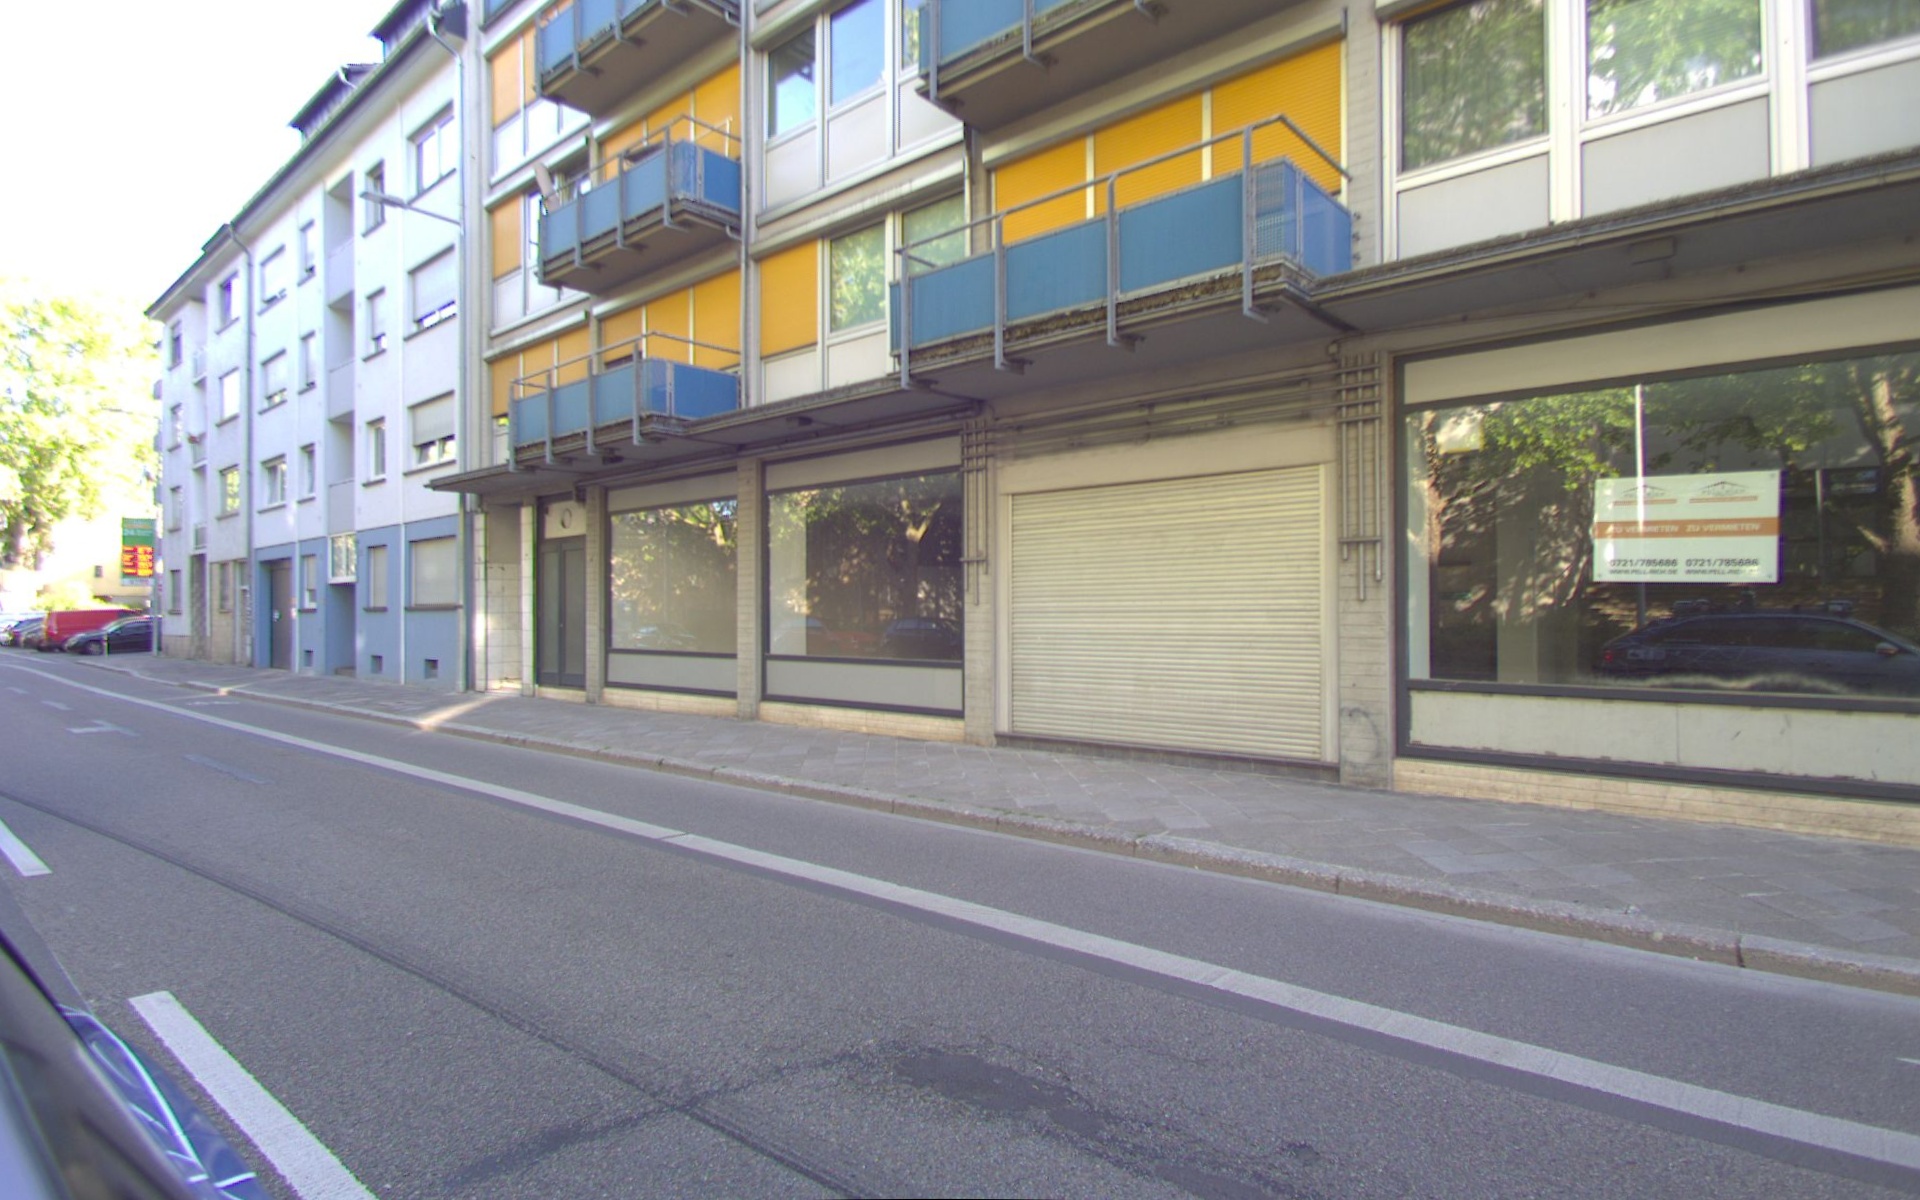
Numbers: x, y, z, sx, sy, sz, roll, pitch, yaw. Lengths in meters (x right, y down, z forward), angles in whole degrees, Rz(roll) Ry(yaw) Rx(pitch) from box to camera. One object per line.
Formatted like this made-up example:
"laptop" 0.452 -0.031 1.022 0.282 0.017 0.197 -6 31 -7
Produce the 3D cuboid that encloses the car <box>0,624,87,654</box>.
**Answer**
"car" -54.495 2.281 59.787 1.652 1.480 4.201 -1 1 41

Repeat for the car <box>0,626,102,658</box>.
"car" -50.462 2.295 56.102 1.652 1.480 4.201 -1 1 41

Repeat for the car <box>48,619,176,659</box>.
"car" -38.186 1.733 45.654 1.652 1.480 4.201 -1 1 41

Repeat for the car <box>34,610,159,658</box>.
"car" -40.567 1.560 47.616 1.817 1.933 4.202 -2 1 40

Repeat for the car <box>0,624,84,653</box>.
"car" -55.877 2.302 61.195 1.652 1.480 4.201 -1 1 41

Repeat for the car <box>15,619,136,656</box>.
"car" -42.755 1.792 49.012 1.652 1.480 4.201 -1 1 41

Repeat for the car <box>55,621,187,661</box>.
"car" -36.493 1.746 44.091 1.652 1.411 4.201 -1 1 41
